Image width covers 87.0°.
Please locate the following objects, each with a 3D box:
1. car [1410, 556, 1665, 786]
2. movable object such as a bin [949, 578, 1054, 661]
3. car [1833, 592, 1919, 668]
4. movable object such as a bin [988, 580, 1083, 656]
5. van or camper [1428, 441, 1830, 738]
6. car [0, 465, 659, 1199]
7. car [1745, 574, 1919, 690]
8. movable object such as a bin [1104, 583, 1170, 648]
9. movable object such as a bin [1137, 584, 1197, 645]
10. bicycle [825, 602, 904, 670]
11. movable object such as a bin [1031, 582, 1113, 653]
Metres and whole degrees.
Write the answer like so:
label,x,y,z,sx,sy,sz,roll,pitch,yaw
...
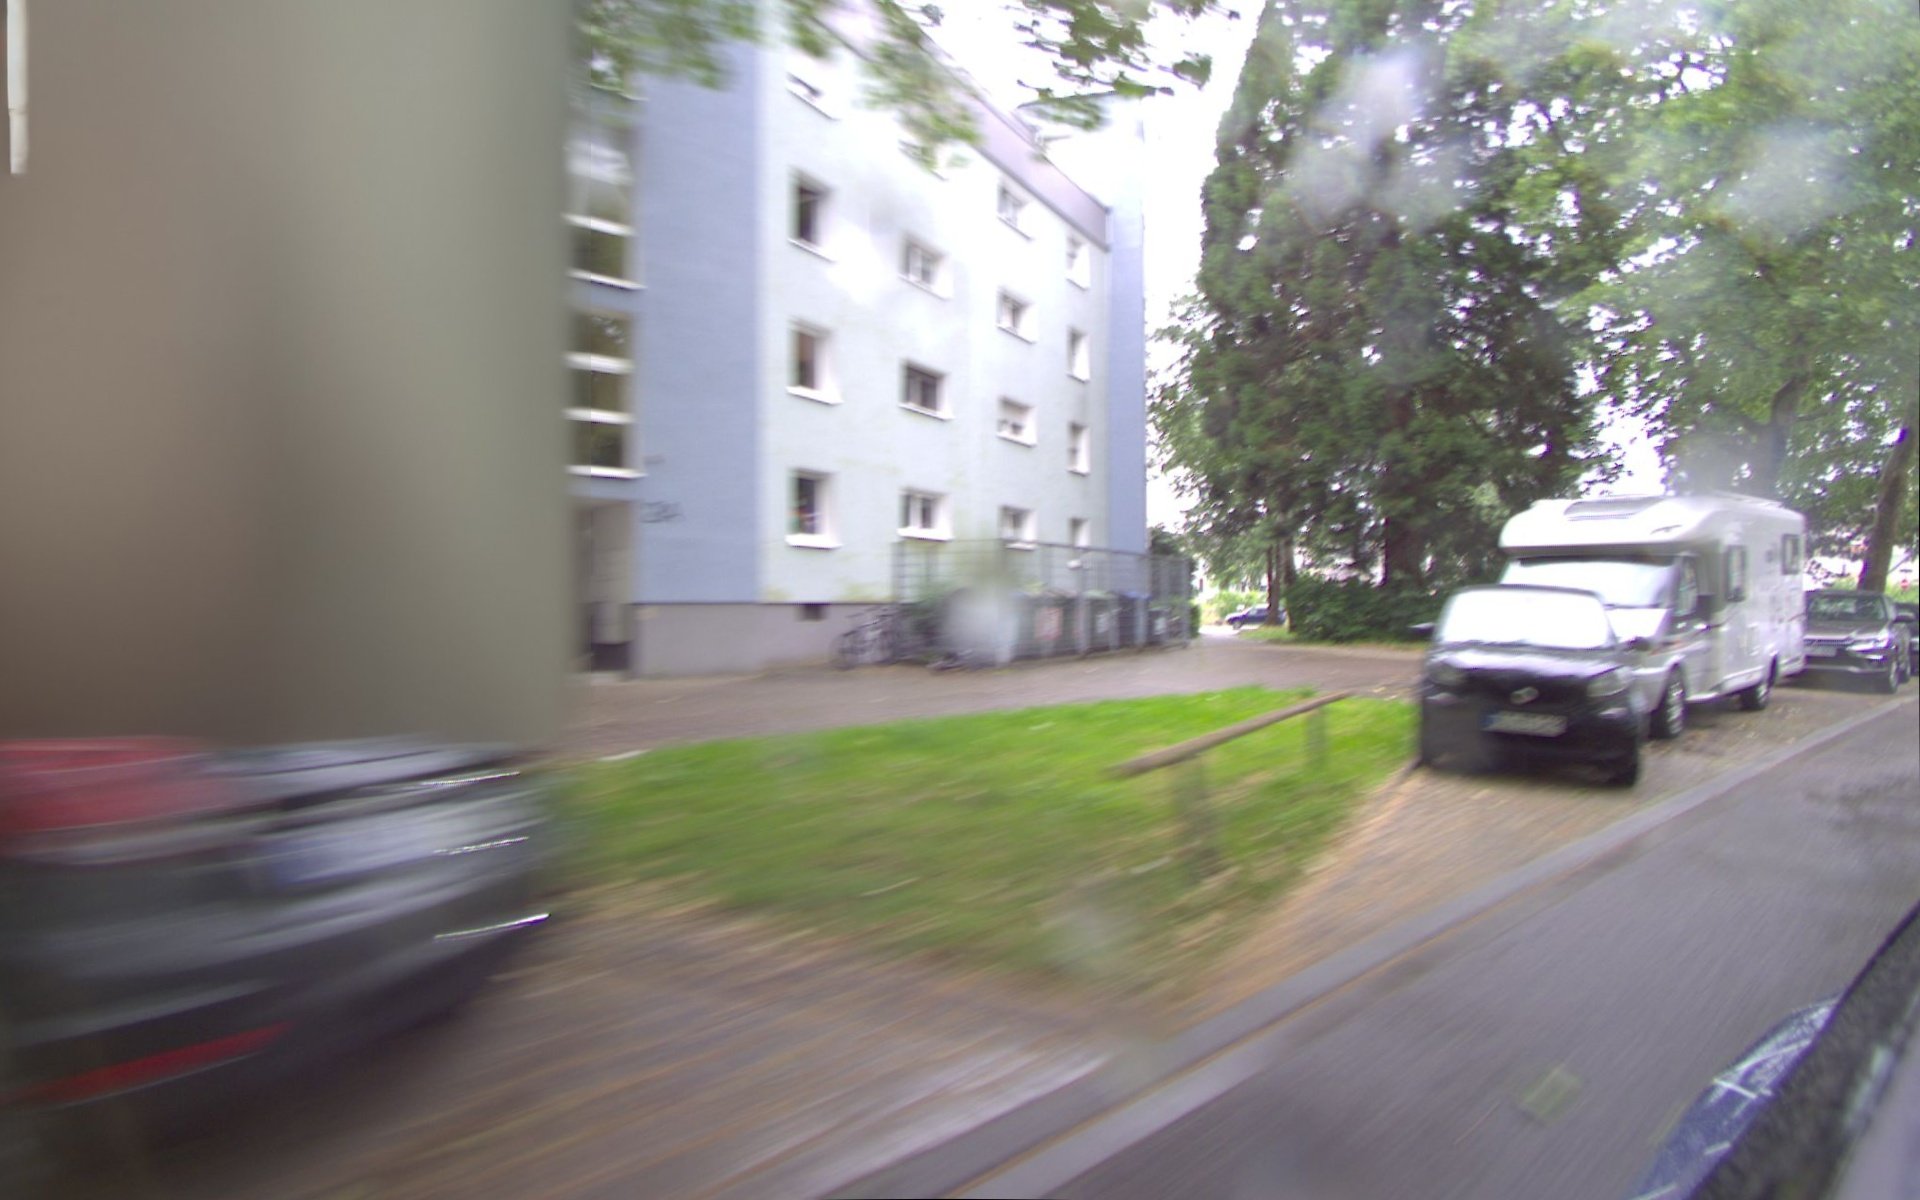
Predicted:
label,x,y,z,sx,sy,sz,roll,pitch,yaw
car,5.176,0.535,9.044,1.680,1.674,2.912,-1,-1,33
movable object such as a bin,0.789,0.353,18.704,1.207,1.451,1.842,-1,-1,31
car,18.939,0.562,20.214,4.074,1.408,1.552,0,-1,-39
movable object such as a bin,1.546,0.354,20.420,1.207,1.451,1.842,-1,-1,31
van or camper,8.667,-0.112,12.740,6.741,2.843,2.323,0,-1,-40
car,-3.059,0.608,3.228,3.721,1.622,1.791,-1,-1,20
car,14.773,0.441,16.889,4.379,1.640,1.918,-2,0,-42
movable object such as a bin,4.279,0.361,24.437,1.153,1.491,1.210,3,1,31
movable object such as a bin,5.403,0.370,26.375,1.153,1.491,1.210,3,1,31
bicycle,-1.657,0.605,17.787,0.390,1.096,1.648,1,2,36
movable object such as a bin,2.413,0.378,21.802,1.310,1.451,1.355,-1,-1,32
